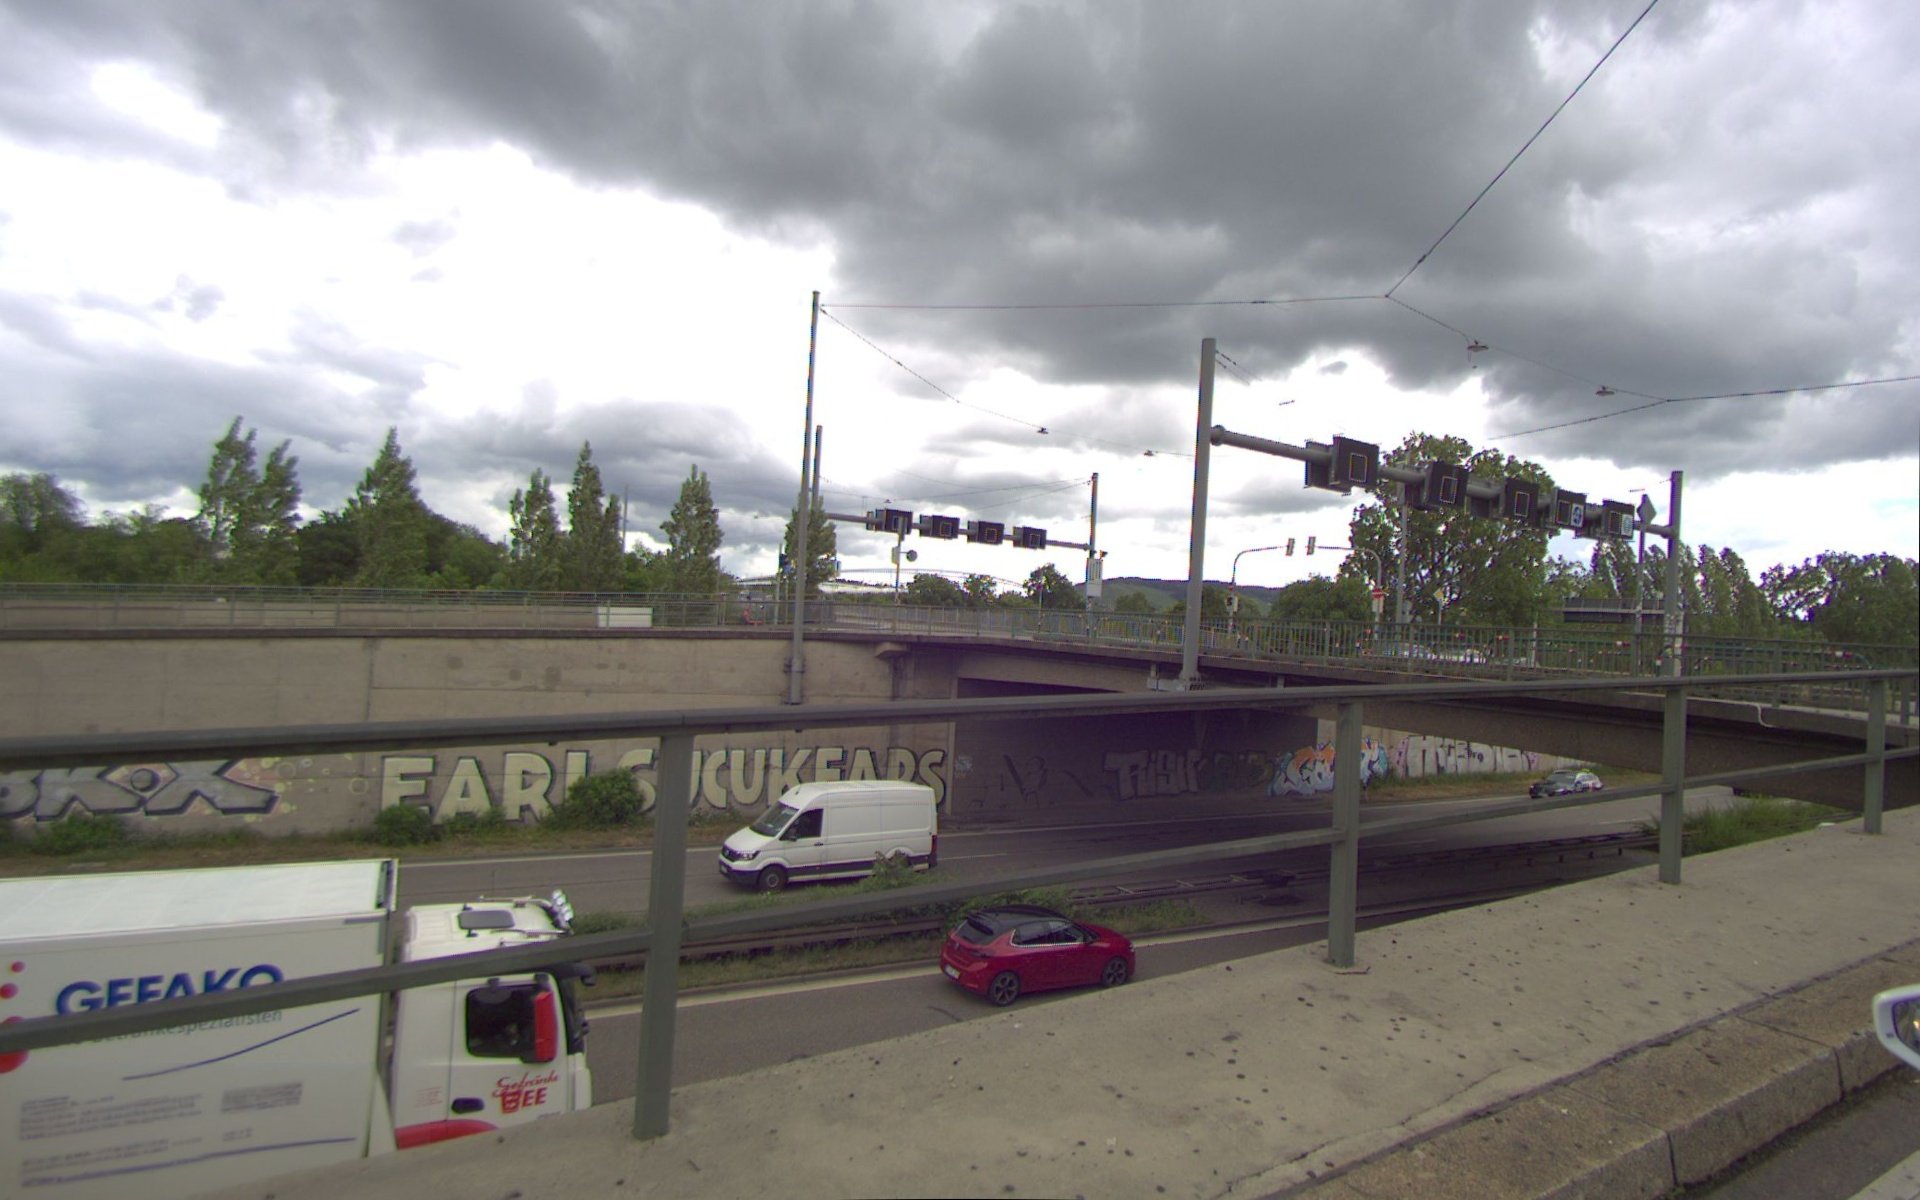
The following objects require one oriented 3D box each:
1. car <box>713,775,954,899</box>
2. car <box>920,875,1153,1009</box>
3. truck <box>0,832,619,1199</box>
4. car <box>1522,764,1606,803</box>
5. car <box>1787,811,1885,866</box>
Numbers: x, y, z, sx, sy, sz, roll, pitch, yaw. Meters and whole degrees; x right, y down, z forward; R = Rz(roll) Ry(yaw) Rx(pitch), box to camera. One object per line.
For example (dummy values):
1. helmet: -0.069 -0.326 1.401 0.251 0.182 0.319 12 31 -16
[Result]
1. car: -3.358 6.267 27.213 6.032 2.628 2.157 5 -3 -30
2. car: 1.500 6.477 19.382 4.133 1.599 1.822 4 -2 -29
3. truck: -8.641 4.479 9.560 9.754 3.570 2.870 4 -4 -29
4. car: 32.047 9.698 53.292 4.581 1.673 1.851 5 -3 -30
5. car: 33.181 8.997 38.035 3.565 1.553 1.685 4 -2 -29
